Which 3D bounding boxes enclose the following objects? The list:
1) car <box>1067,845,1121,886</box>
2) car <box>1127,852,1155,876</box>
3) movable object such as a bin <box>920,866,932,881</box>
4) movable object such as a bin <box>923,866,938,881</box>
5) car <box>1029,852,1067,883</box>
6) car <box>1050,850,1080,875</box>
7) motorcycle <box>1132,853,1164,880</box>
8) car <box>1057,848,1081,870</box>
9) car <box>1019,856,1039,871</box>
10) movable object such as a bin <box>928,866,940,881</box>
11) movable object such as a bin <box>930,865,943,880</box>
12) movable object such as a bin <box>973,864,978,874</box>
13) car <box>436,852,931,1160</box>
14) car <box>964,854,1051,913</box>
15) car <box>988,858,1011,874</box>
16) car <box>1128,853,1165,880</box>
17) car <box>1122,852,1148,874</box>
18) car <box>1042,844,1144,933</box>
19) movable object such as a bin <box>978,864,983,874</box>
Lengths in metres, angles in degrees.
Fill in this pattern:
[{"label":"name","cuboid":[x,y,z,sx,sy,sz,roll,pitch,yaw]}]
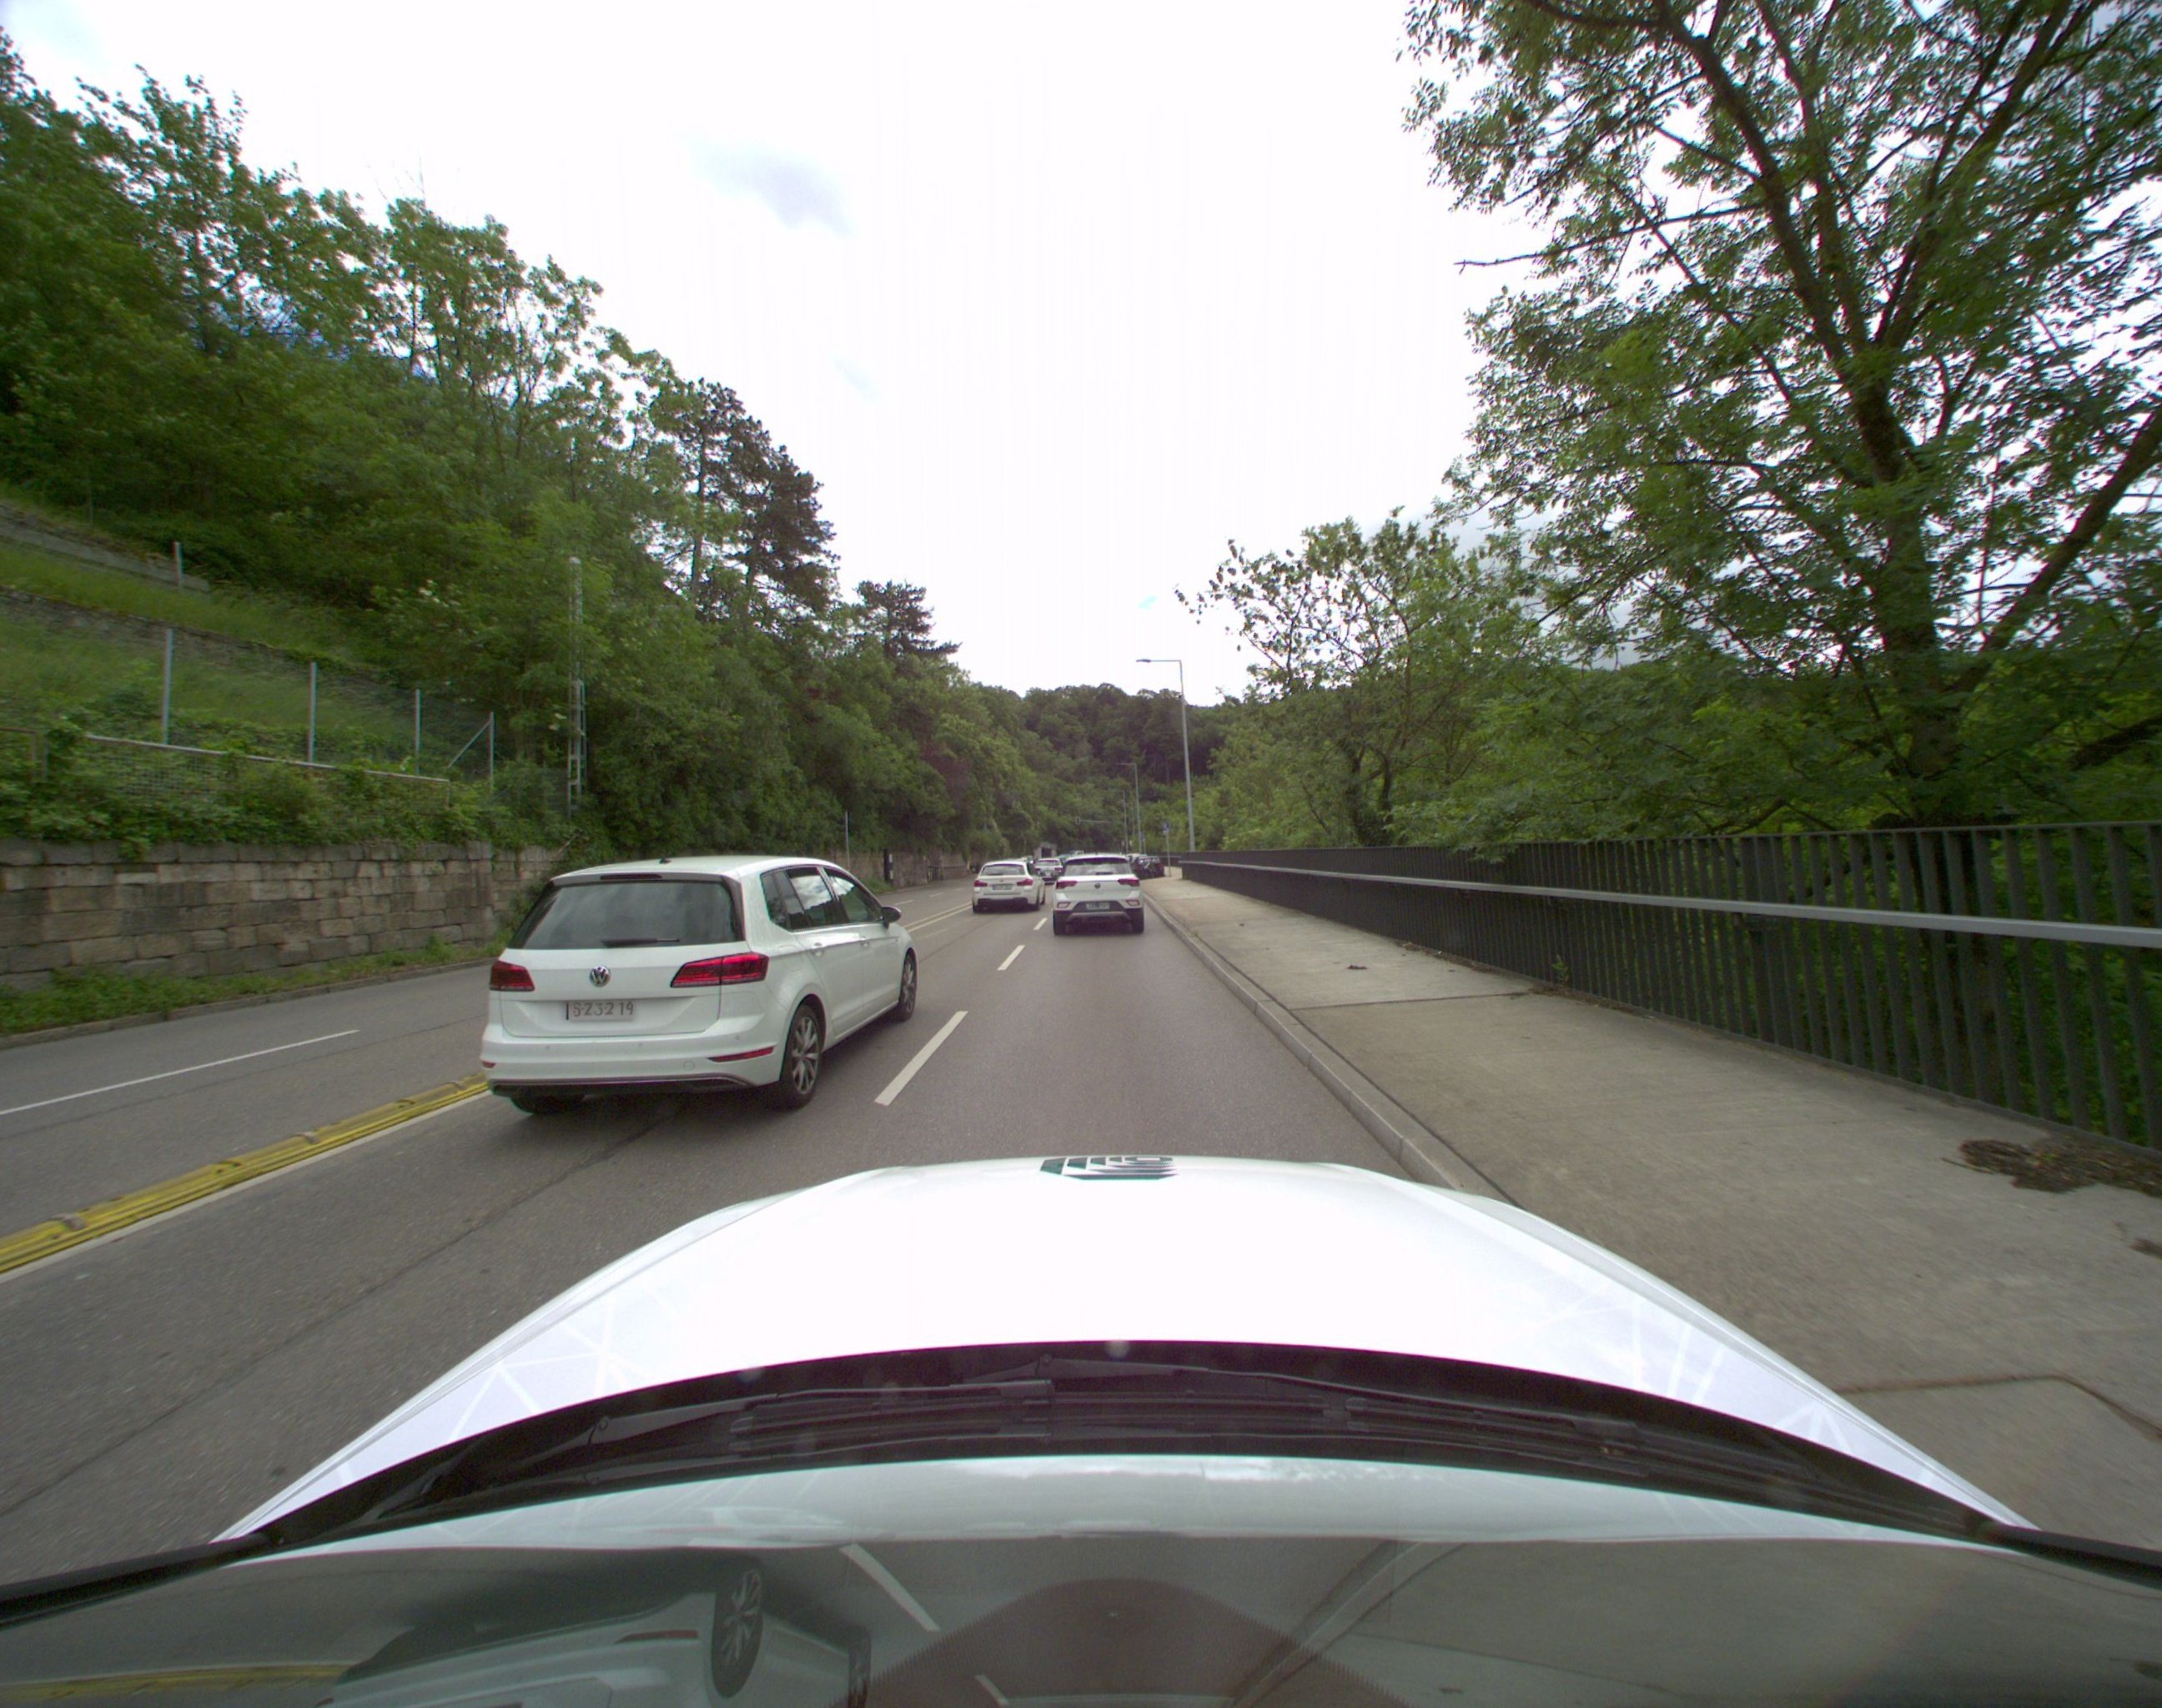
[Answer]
[{"label":"car","cuboid":[0.682,0.526,39.069,1.982,1.843,4.161,-1,-1,9]},{"label":"car","cuboid":[4.262,0.698,58.343,1.654,1.572,4.256,-5,0,1]},{"label":"movable object such as a bin","cuboid":[-10.924,1.377,57.386,0.672,0.966,0.543,-2,0,-3]},{"label":"movable object such as a bin","cuboid":[-10.821,1.434,58.628,0.896,1.034,0.621,-2,0,-3]},{"label":"car","cuboid":[-1.782,0.740,45.156,1.855,1.595,4.001,0,-1,2]},{"label":"car","cuboid":[-1.122,0.641,60.633,1.986,1.741,4.002,-2,0,2]},{"label":"motorcycle","cuboid":[3.718,0.677,45.005,0.762,1.467,2.520,-2,0,30]},{"label":"car","cuboid":[-1.107,0.433,74.991,1.986,1.864,4.002,-2,0,2]},{"label":"car","cuboid":[-5.982,1.078,94.084,1.808,1.697,4.473,-2,0,3]},{"label":"movable object such as a bin","cuboid":[-10.708,1.390,59.387,0.770,1.061,0.717,-2,0,-3]},{"label":"movable object such as a bin","cuboid":[-10.668,1.360,60.125,0.785,1.071,0.708,-2,1,-3]},{"label":"movable object such as a bin","cuboid":[-10.417,1.474,80.295,0.476,0.971,0.367,0,-1,-4]},{"label":"car","cuboid":[-2.473,0.797,6.397,1.714,1.554,4.275,-2,0,0]},{"label":"car","cuboid":[-2.072,0.807,24.320,1.986,1.557,4.683,-1,0,2]},{"label":"car","cuboid":[-7.518,1.096,75.345,1.577,1.461,3.525,-2,0,2]},{"label":"car","cuboid":[3.904,0.719,49.122,1.817,1.401,4.318,-5,0,0]},{"label":"car","cuboid":[4.170,0.723,63.709,1.720,1.568,4.625,-3,-1,1]},{"label":"car","cuboid":[0.345,0.642,16.999,1.806,1.539,4.012,-3,0,4]},{"label":"movable object such as a bin","cuboid":[-9.911,1.480,80.318,0.478,0.936,0.365,0,-1,-4]}]
